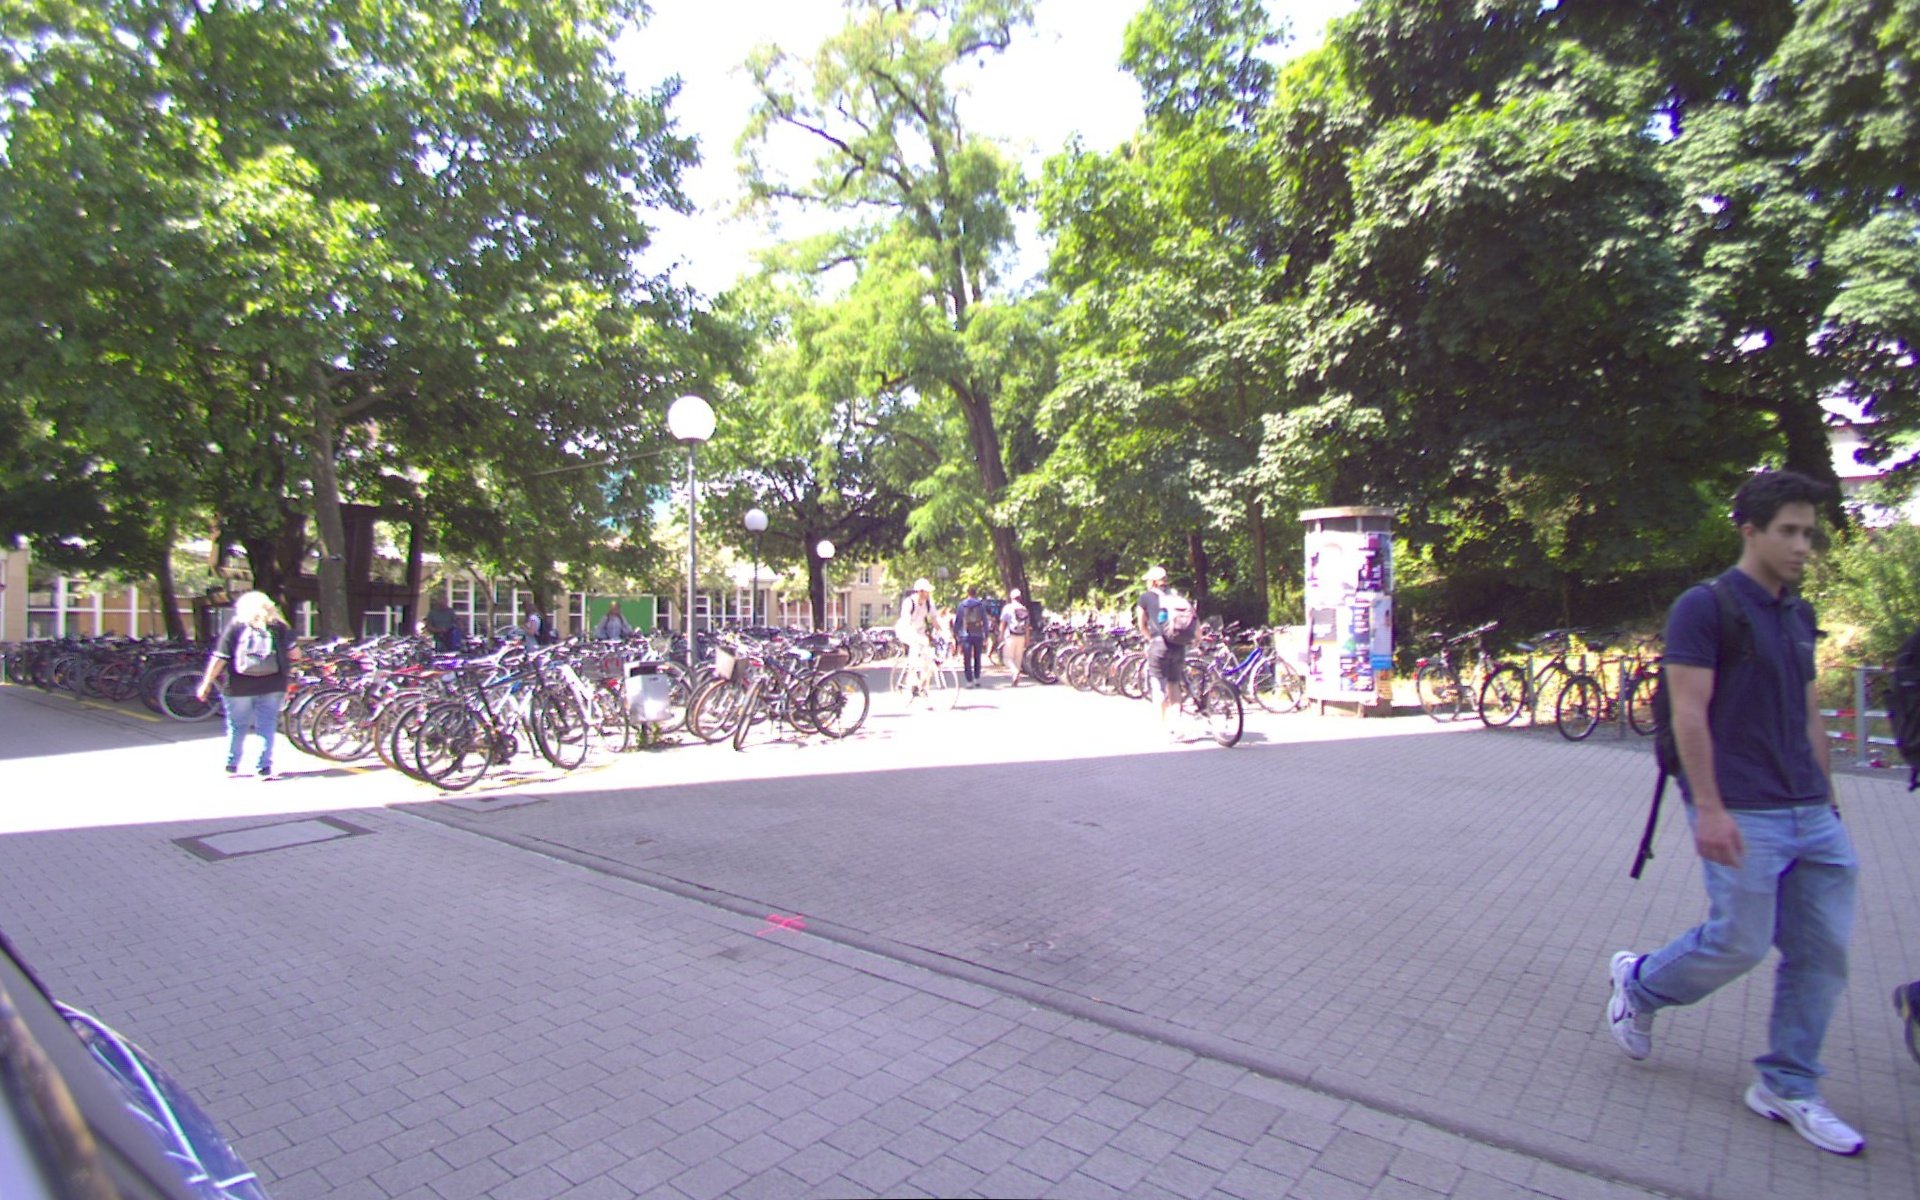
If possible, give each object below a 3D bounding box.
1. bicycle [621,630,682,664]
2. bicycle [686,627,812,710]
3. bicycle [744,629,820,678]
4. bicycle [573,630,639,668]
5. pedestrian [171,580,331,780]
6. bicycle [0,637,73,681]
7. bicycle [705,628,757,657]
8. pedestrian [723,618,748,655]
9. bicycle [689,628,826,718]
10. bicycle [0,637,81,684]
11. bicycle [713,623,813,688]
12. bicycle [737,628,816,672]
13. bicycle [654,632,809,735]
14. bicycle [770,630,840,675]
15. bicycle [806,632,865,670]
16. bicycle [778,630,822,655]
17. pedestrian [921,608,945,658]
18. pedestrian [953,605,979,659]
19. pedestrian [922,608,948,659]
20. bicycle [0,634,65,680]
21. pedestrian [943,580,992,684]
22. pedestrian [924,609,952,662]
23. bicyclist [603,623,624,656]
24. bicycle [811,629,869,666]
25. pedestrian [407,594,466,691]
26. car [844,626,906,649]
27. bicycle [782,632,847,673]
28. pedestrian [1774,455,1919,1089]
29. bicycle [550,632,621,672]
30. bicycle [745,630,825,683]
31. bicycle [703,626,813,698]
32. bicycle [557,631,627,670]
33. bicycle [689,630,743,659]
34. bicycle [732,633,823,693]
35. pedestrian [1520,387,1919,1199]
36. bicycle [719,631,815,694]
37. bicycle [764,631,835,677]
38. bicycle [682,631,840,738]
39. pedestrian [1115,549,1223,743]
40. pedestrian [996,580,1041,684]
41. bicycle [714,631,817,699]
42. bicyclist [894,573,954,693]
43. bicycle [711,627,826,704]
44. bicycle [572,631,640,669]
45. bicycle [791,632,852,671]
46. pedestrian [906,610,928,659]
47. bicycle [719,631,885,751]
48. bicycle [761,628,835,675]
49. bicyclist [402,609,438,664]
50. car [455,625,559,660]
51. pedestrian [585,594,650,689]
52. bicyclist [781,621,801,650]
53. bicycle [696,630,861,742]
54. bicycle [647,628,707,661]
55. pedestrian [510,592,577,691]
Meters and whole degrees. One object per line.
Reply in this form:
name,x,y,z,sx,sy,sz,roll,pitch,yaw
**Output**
bicycle,-10.412,1.590,34.145,1.983,1.116,0.501,-1,-1,10
bicycle,-2.906,0.932,14.002,1.672,1.092,0.475,0,-1,-8
bicycle,-4.131,1.236,23.526,1.676,1.092,0.474,-1,-1,1
bicycle,-10.670,1.474,30.521,1.886,1.116,0.501,-1,-1,10
pedestrian,-6.323,0.677,9.050,0.900,1.692,0.765,-1,0,19
bicycle,-24.400,1.539,26.579,0.496,1.116,1.608,-4,-4,39
bicycle,-9.125,1.691,40.361,2.010,1.116,0.501,-1,-1,13
pedestrian,-10.423,1.715,47.016,0.727,1.697,0.863,-2,-3,36
bicycle,-2.560,0.916,12.899,1.672,1.092,0.475,0,-1,-8
bicycle,-23.176,1.521,25.433,1.603,1.116,0.498,1,-4,-39
bicycle,-3.442,0.952,17.655,1.671,1.092,0.475,0,-1,-15
bicycle,-4.168,1.124,23.022,1.716,0.969,0.452,-1,-1,1
bicycle,-2.623,0.932,11.684,1.670,1.092,0.475,0,-1,-31
bicycle,-3.890,1.324,25.450,1.676,1.092,0.474,-1,-1,1
bicycle,-3.647,1.500,29.778,1.676,1.092,0.474,-1,-1,1
bicycle,-7.363,1.941,46.432,2.016,1.116,0.499,-1,-1,21
pedestrian,-0.978,1.209,37.236,0.607,1.788,0.652,-1,-1,31
pedestrian,0.211,1.065,33.915,0.760,1.788,0.905,-1,-1,6
pedestrian,-0.837,1.126,34.159,0.760,1.692,0.905,-1,-1,6
bicycle,-23.907,1.451,25.776,0.496,1.116,1.608,-4,-4,39
pedestrian,0.145,0.578,18.401,0.824,1.829,0.881,-1,-1,4
pedestrian,-0.700,1.136,32.642,0.760,1.692,0.905,-1,-1,6
bicyclist,-16.738,1.886,48.830,0.605,1.546,0.717,0,-1,42
bicycle,-3.646,1.446,30.785,1.676,1.092,0.474,-1,-1,1
pedestrian,-10.014,0.800,19.367,0.701,1.820,0.768,-1,-1,7
car,-5.967,2.634,71.646,1.836,1.553,4.481,-2,-3,38
bicycle,-3.957,1.423,27.562,1.676,1.092,0.474,-1,-1,1
pedestrian,3.027,0.464,2.696,0.707,1.737,1.068,0,-2,-17
bicycle,-10.618,1.466,28.726,1.884,1.116,0.502,-1,-1,7
bicycle,-3.764,1.216,21.851,1.673,1.092,0.475,0,-1,-7
bicycle,-3.217,0.967,16.116,1.671,1.092,0.475,0,-1,-15
bicycle,-10.634,1.461,29.274,1.884,1.116,0.502,-1,-1,7
bicycle,-9.467,1.724,39.265,2.010,1.116,0.501,-1,-1,13
bicycle,-3.505,1.202,19.446,1.671,1.092,0.475,0,-1,-15
pedestrian,2.217,0.465,2.770,0.674,1.849,0.944,0,-2,-16
bicycle,-3.511,1.128,18.393,1.671,1.092,0.475,0,-1,-15
bicycle,-3.939,1.314,24.856,1.676,1.092,0.474,-1,-1,1
bicycle,-2.206,0.910,11.311,1.670,1.092,0.475,0,-1,-31
pedestrian,2.101,0.448,10.267,0.603,1.849,1.053,0,-1,-19
pedestrian,1.059,0.567,18.295,0.760,1.817,0.983,-1,-1,4
bicycle,-3.304,1.089,17.194,1.671,1.092,0.475,0,-1,-15
bicyclist,-0.496,0.441,13.742,0.585,1.580,0.724,0,-1,-22
bicycle,-2.867,0.969,15.167,1.671,1.092,0.475,0,-1,-12
bicycle,-10.474,1.473,29.936,1.886,1.116,0.501,-1,-1,10
bicycle,-3.934,1.463,28.782,1.676,1.092,0.474,-1,-1,1
pedestrian,-1.594,1.283,37.638,0.501,1.784,0.664,-1,-1,31
bicycle,-1.601,0.891,10.420,1.672,1.118,0.475,0,-1,-38
bicycle,-3.845,1.224,24.041,1.676,1.092,0.474,-1,-1,1
bicyclist,-19.395,1.313,36.388,0.792,1.906,0.869,-4,-2,-8
car,-22.843,2.119,51.137,1.836,1.630,4.481,0,-1,38
pedestrian,-6.289,0.758,18.633,0.896,1.716,0.768,-1,-1,6
bicyclist,-9.484,1.995,56.691,0.639,1.585,0.864,0,-2,36
bicycle,-1.919,0.885,10.842,1.695,1.092,0.475,0,-1,-36
bicycle,-9.848,1.560,35.228,2.006,1.116,0.502,-1,-1,8
pedestrian,-7.463,0.737,18.135,0.770,1.716,0.894,-2,-2,45
